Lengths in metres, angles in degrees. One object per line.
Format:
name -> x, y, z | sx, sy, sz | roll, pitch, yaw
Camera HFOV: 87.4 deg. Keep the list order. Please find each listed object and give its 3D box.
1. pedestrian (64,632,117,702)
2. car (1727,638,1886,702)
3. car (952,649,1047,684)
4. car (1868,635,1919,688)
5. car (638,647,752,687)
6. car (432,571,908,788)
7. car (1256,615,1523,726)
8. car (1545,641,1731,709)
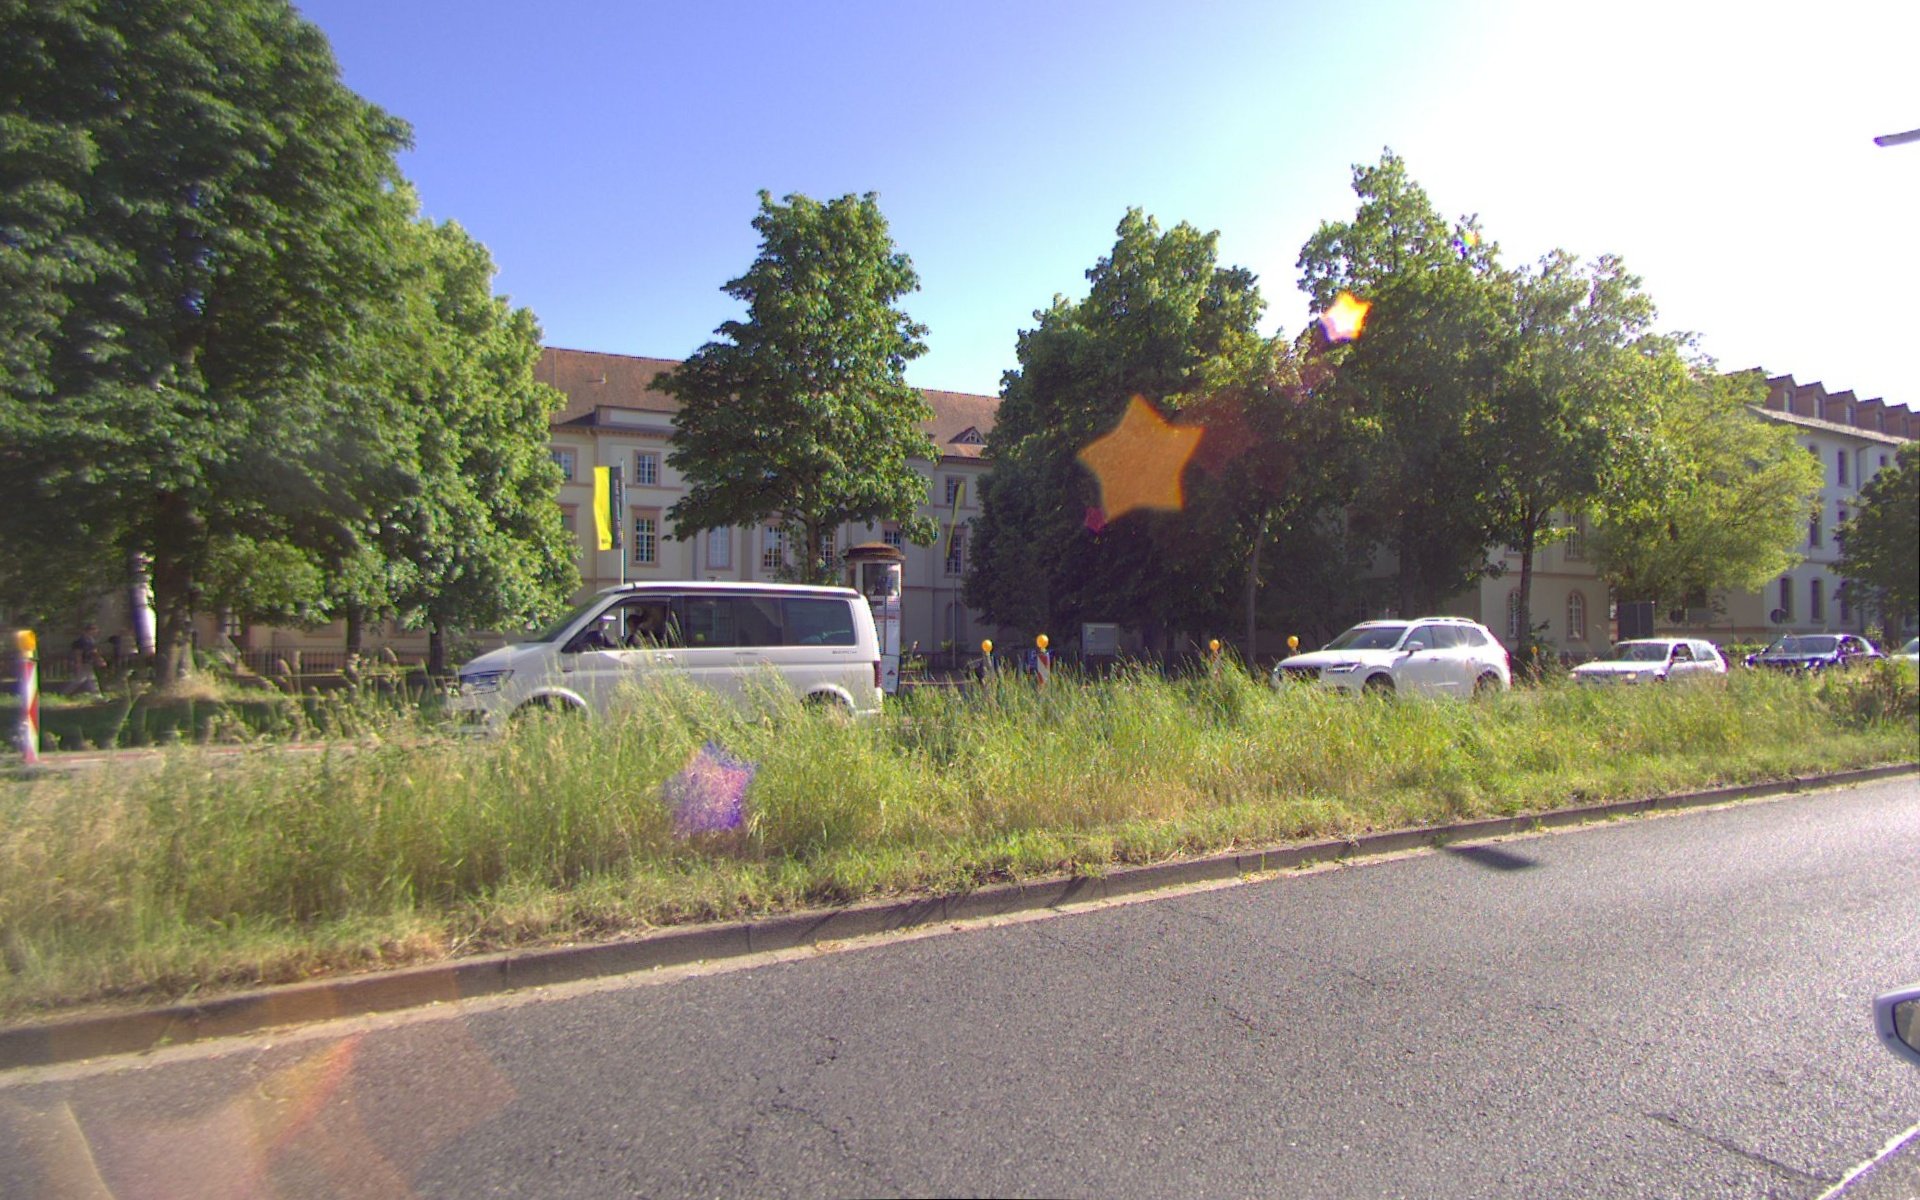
pedestrian -> -19.737, 1.512, 22.822 | 0.774, 1.555, 0.735 | 2, -3, -34
car -> 22.019, 1.785, 26.087 | 4.392, 1.539, 1.787 | 2, -2, -30
car -> 1.584, 2.632, 40.386 | 3.447, 1.340, 1.765 | 1, -3, -19
car -> 29.642, 1.850, 30.580 | 4.208, 1.539, 1.787 | 2, -2, -30
car -> -11.839, 3.028, 45.023 | 4.630, 1.511, 1.635 | 5, -3, -29
car -> -3.308, 0.846, 11.719 | 4.958, 2.054, 2.223 | 2, -2, -30
car -> 7.735, 1.209, 17.938 | 4.973, 1.766, 1.787 | 2, -3, -30
car -> 15.104, 1.614, 22.349 | 4.208, 1.369, 1.787 | 2, -2, -30
